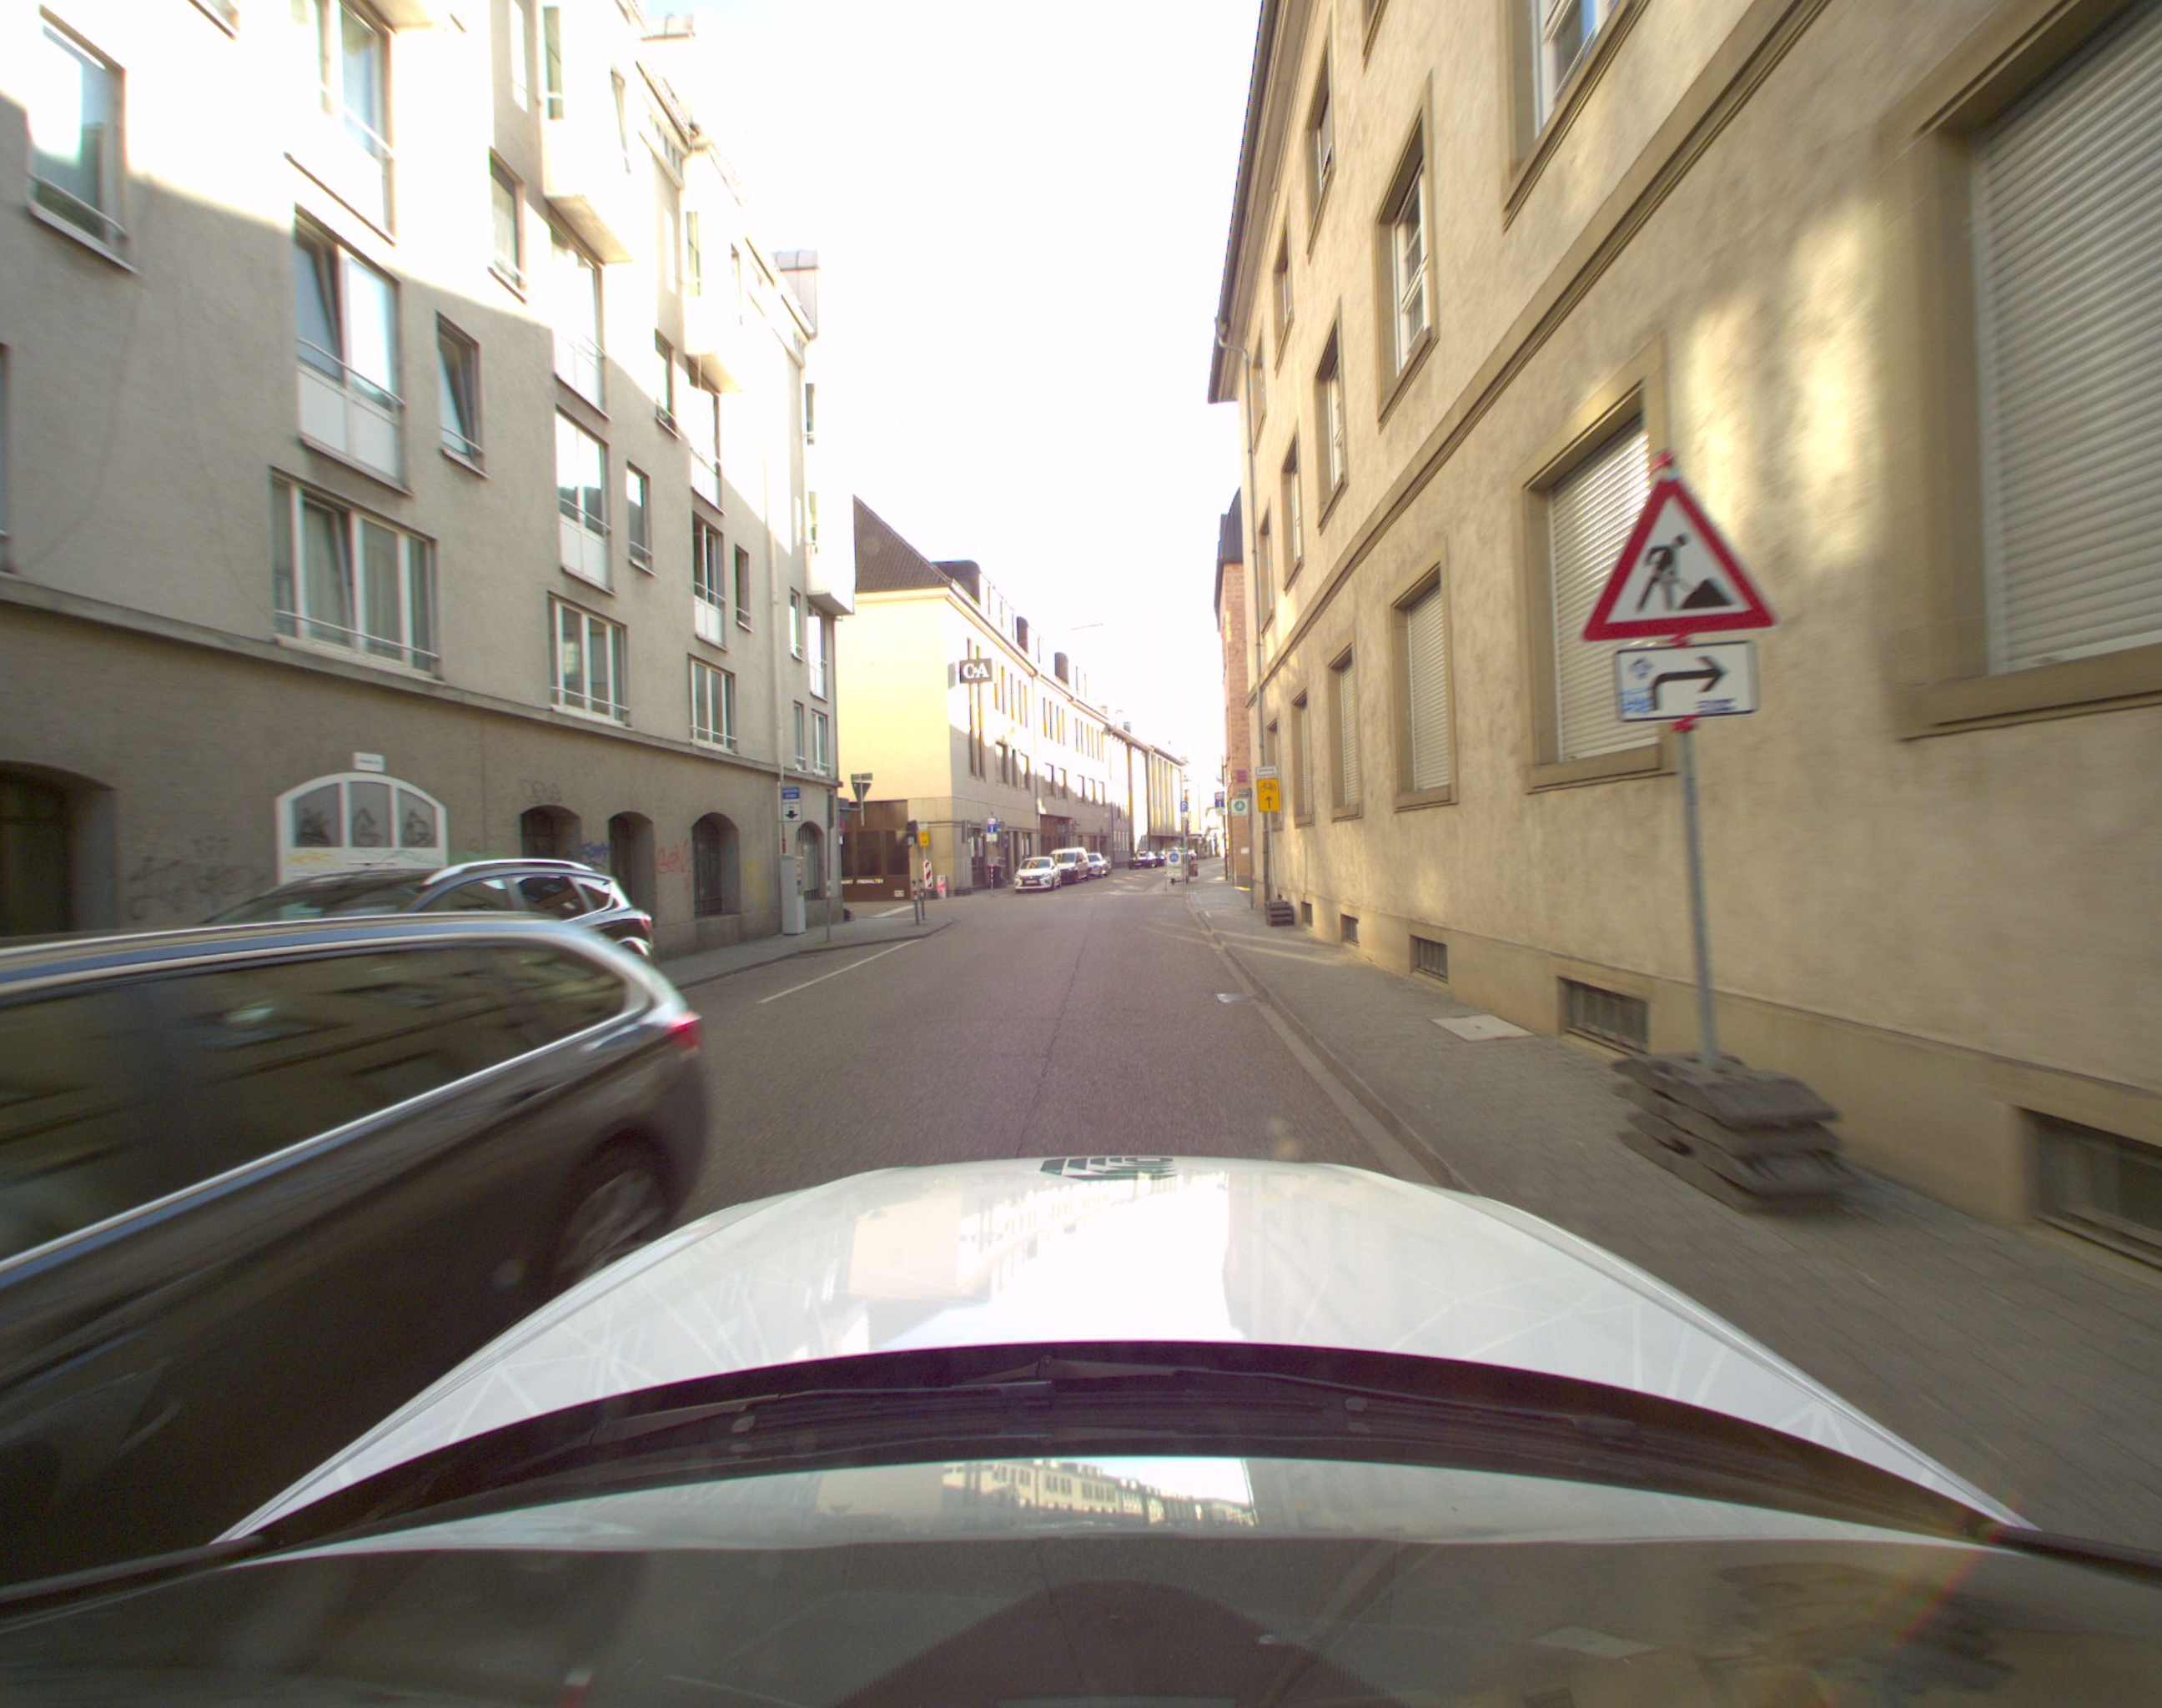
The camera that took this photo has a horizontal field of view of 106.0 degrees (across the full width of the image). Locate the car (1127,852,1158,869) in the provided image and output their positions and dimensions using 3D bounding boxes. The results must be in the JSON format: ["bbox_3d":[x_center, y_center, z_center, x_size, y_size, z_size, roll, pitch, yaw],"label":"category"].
[{"bbox_3d":[5.183,0.510,68.472,1.867,1.332,4.117,-2,0,15],"label":"car"}]

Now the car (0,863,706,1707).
[{"bbox_3d":[-2.355,0.848,1.451,1.712,1.578,4.182,-2,0,-5],"label":"car"}]

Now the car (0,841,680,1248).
[{"bbox_3d":[-4.836,0.853,5.621,1.732,1.711,4.194,-4,0,3],"label":"car"}]

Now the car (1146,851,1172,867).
[{"bbox_3d":[7.159,0.405,74.703,1.711,1.340,4.016,-2,0,15],"label":"car"}]

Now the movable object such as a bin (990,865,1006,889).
[{"bbox_3d":[-3.829,1.041,37.495,0.606,1.060,0.713,1,0,2],"label":"movable object such as a bin"}]

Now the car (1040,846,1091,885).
[{"bbox_3d":[-0.719,0.538,41.998,1.660,1.818,4.565,-3,0,10],"label":"car"}]

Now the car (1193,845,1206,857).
[{"bbox_3d":[15.247,-0.393,104.752,1.329,1.494,3.360,-2,0,15],"label":"car"}]

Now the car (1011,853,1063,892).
[{"bbox_3d":[-1.892,0.780,36.196,1.662,1.507,3.799,-3,0,5],"label":"car"}]

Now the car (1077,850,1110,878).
[{"bbox_3d":[0.764,0.558,48.098,1.263,1.507,3.412,-3,0,11],"label":"car"}]

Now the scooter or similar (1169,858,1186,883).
[{"bbox_3d":[4.404,0.740,37.119,0.766,1.136,0.270,1,0,7],"label":"scooter or similar"}]
